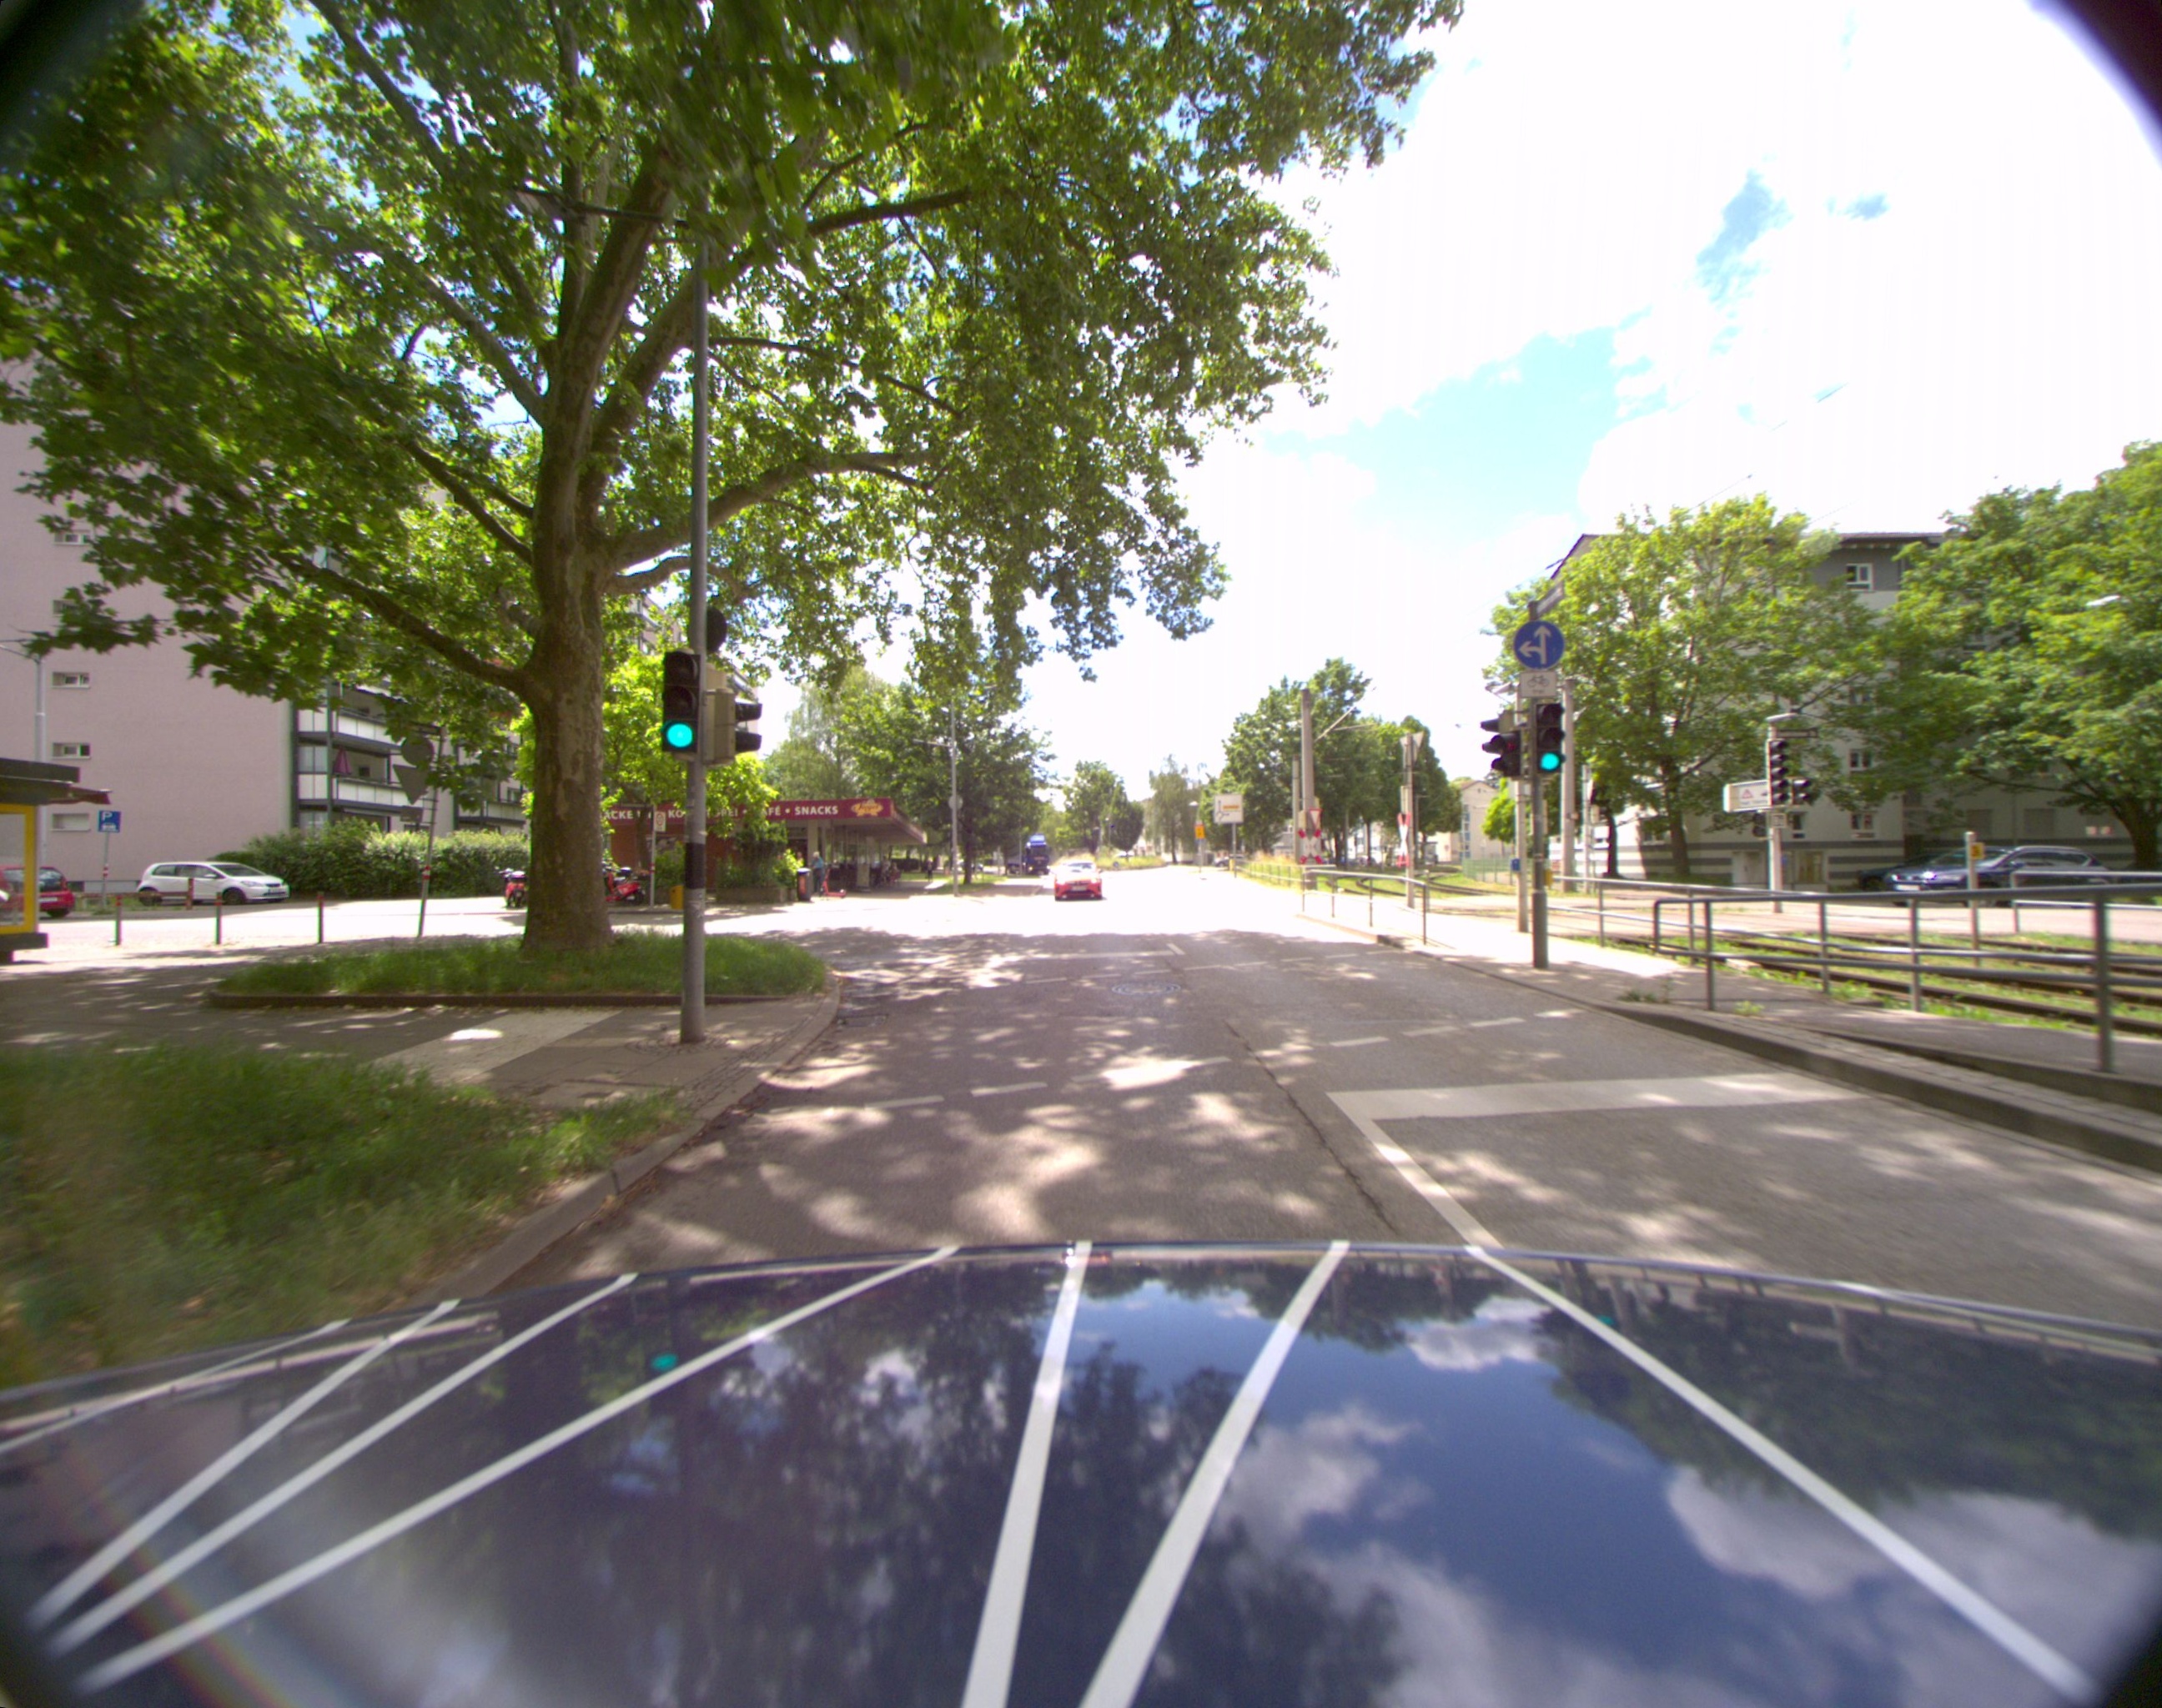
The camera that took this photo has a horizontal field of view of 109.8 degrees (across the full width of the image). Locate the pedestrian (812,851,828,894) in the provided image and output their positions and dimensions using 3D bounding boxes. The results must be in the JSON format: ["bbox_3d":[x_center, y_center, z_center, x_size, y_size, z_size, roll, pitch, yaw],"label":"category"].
[{"bbox_3d":[-9.852,0.703,28.727,0.444,1.623,0.399,-1,1,-40],"label":"pedestrian"}]

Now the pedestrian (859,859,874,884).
[{"bbox_3d":[-11.414,0.936,40.486,0.674,1.259,0.677,2,1,-9],"label":"pedestrian"}]

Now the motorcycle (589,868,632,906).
[{"bbox_3d":[-15.809,1.081,25.522,2.132,1.188,0.741,0,0,45],"label":"motorcycle"}]

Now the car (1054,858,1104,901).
[{"bbox_3d":[-0.079,0.919,28.942,1.712,1.439,3.670,-2,0,0],"label":"car"}]

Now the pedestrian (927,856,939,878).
[{"bbox_3d":[-10.446,0.913,53.531,0.726,1.529,0.654,0,0,-3],"label":"pedestrian"}]

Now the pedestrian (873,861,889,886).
[{"bbox_3d":[-10.195,1.005,38.816,0.674,1.259,0.825,-1,0,-9],"label":"pedestrian"}]

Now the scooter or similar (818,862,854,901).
[{"bbox_3d":[-8.518,0.949,26.476,0.376,1.300,1.234,0,0,33],"label":"scooter or similar"}]

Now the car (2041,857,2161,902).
[{"bbox_3d":[39.969,0.941,28.764,1.860,1.547,4.108,-1,1,-6],"label":"car"}]

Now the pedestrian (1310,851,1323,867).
[{"bbox_3d":[24.506,0.563,79.178,0.876,1.655,1.020,-1,0,-21],"label":"pedestrian"}]

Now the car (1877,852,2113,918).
[{"bbox_3d":[22.353,0.728,18.701,3.680,1.468,1.588,1,0,3],"label":"car"}]

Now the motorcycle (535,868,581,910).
[{"bbox_3d":[-16.076,1.053,23.343,2.132,1.188,0.741,0,1,44],"label":"motorcycle"}]

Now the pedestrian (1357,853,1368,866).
[{"bbox_3d":[35.271,0.716,95.059,1.022,1.655,0.875,0,0,-5],"label":"pedestrian"}]

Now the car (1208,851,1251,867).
[{"bbox_3d":[17.337,0.536,88.633,4.615,1.786,2.000,0,0,-1],"label":"car"}]

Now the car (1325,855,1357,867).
[{"bbox_3d":[33.673,0.836,98.560,1.811,1.514,4.116,0,0,-20],"label":"car"}]

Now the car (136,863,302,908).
[{"bbox_3d":[-29.626,1.056,26.213,3.489,1.429,1.748,-1,0,-6],"label":"car"}]

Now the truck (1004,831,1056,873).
[{"bbox_3d":[-5.362,-0.184,77.517,2.634,4.069,9.592,-1,0,-20],"label":"truck"}]

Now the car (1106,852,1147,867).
[{"bbox_3d":[5.442,0.661,91.026,4.605,1.786,2.004,0,0,34],"label":"car"}]

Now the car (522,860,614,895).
[{"bbox_3d":[-21.476,0.946,31.984,1.749,1.334,3.488,-1,0,-6],"label":"car"}]

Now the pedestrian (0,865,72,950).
[{"bbox_3d":[-19.156,0.952,13.538,0.810,1.466,1.101,0,-3,-4],"label":"pedestrian"}]

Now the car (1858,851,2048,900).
[{"bbox_3d":[30.732,0.688,26.983,1.860,1.547,4.108,-1,1,-6],"label":"car"}]

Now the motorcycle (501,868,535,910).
[{"bbox_3d":[-17.310,1.050,23.349,0.741,1.188,2.132,-1,1,-39],"label":"motorcycle"}]

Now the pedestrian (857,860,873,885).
[{"bbox_3d":[-11.114,0.970,39.150,0.677,1.259,0.674,2,1,-7],"label":"pedestrian"}]

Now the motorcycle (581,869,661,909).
[{"bbox_3d":[-14.027,1.064,23.181,2.135,1.188,0.740,0,0,10],"label":"motorcycle"}]

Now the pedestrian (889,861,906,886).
[{"bbox_3d":[-9.598,1.011,39.828,0.677,1.259,0.674,-1,0,5],"label":"pedestrian"}]

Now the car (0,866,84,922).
[{"bbox_3d":[-29.412,1.051,20.148,3.489,1.429,1.637,-1,0,-6],"label":"car"}]

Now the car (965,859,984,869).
[{"bbox_3d":[-14.473,1.337,103.193,1.811,1.346,3.993,0,0,-20],"label":"car"}]

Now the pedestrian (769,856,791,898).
[{"bbox_3d":[-11.131,0.837,28.072,0.510,1.542,0.534,0,1,32],"label":"pedestrian"}]

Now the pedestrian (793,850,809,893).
[{"bbox_3d":[-10.474,0.651,28.438,0.444,1.623,0.399,-1,1,-40],"label":"pedestrian"}]

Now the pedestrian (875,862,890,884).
[{"bbox_3d":[-10.599,1.011,40.612,0.674,1.145,0.677,2,1,-9],"label":"pedestrian"}]
